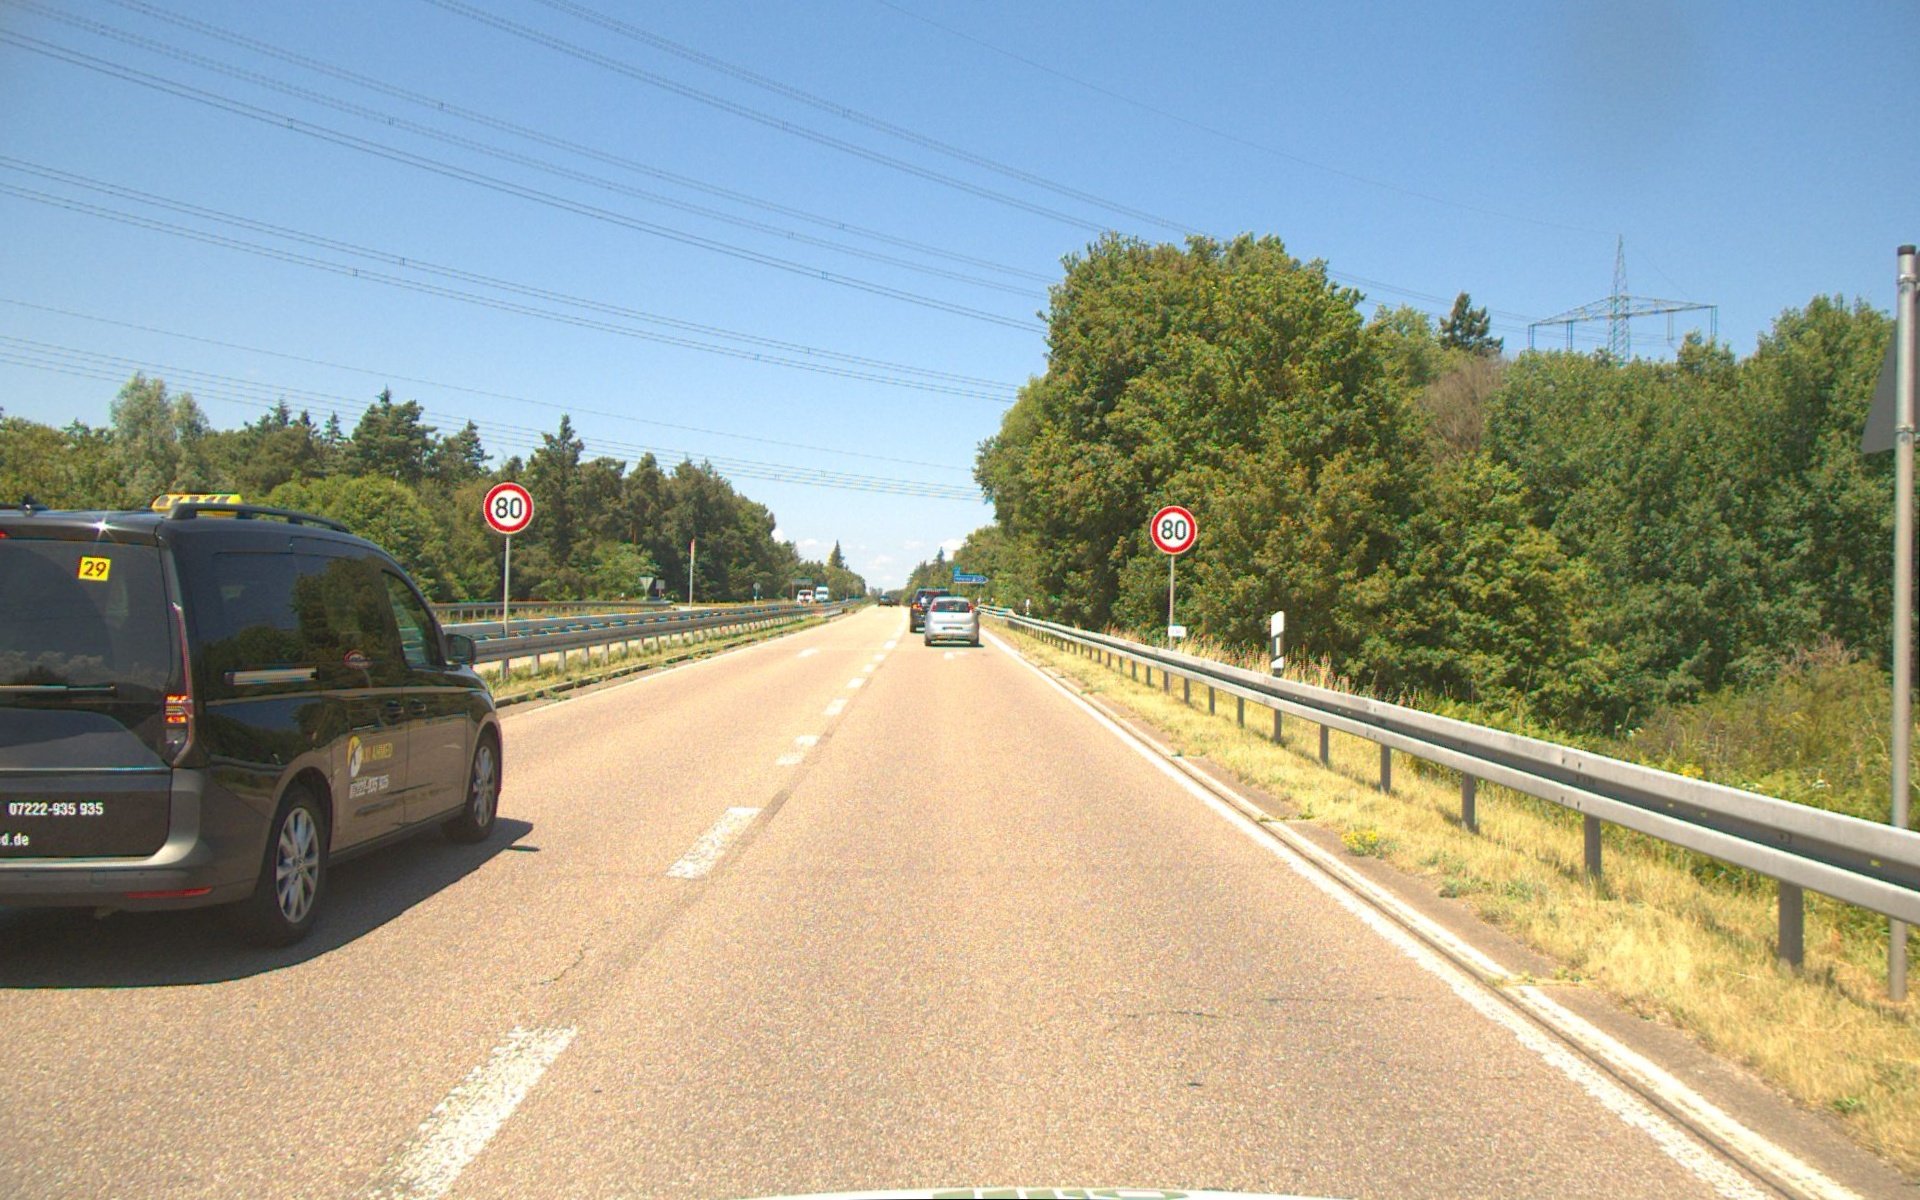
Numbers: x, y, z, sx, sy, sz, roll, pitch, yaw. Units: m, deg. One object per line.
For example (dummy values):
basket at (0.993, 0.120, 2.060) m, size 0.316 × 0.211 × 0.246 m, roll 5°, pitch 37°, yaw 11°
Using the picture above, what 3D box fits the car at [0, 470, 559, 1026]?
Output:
car at (-3.582, 0.514, 8.493) m, size 1.817 × 1.920 × 5.571 m, roll 0°, pitch 0°, yaw -2°

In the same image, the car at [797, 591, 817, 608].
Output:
car at (-18.453, -0.043, 199.982) m, size 1.852 × 2.027 × 5.533 m, roll 0°, pitch 0°, yaw 0°

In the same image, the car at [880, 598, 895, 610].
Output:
car at (-9.109, 0.486, 208.218) m, size 1.678 × 1.497 × 3.573 m, roll 3°, pitch 0°, yaw -2°

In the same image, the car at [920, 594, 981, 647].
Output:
car at (-0.321, 0.611, 50.735) m, size 1.608 × 1.493 × 3.416 m, roll 3°, pitch 0°, yaw -3°

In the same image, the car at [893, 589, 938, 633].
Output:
car at (-1.831, 0.427, 66.858) m, size 1.608 × 1.682 × 3.571 m, roll 3°, pitch 0°, yaw -4°
